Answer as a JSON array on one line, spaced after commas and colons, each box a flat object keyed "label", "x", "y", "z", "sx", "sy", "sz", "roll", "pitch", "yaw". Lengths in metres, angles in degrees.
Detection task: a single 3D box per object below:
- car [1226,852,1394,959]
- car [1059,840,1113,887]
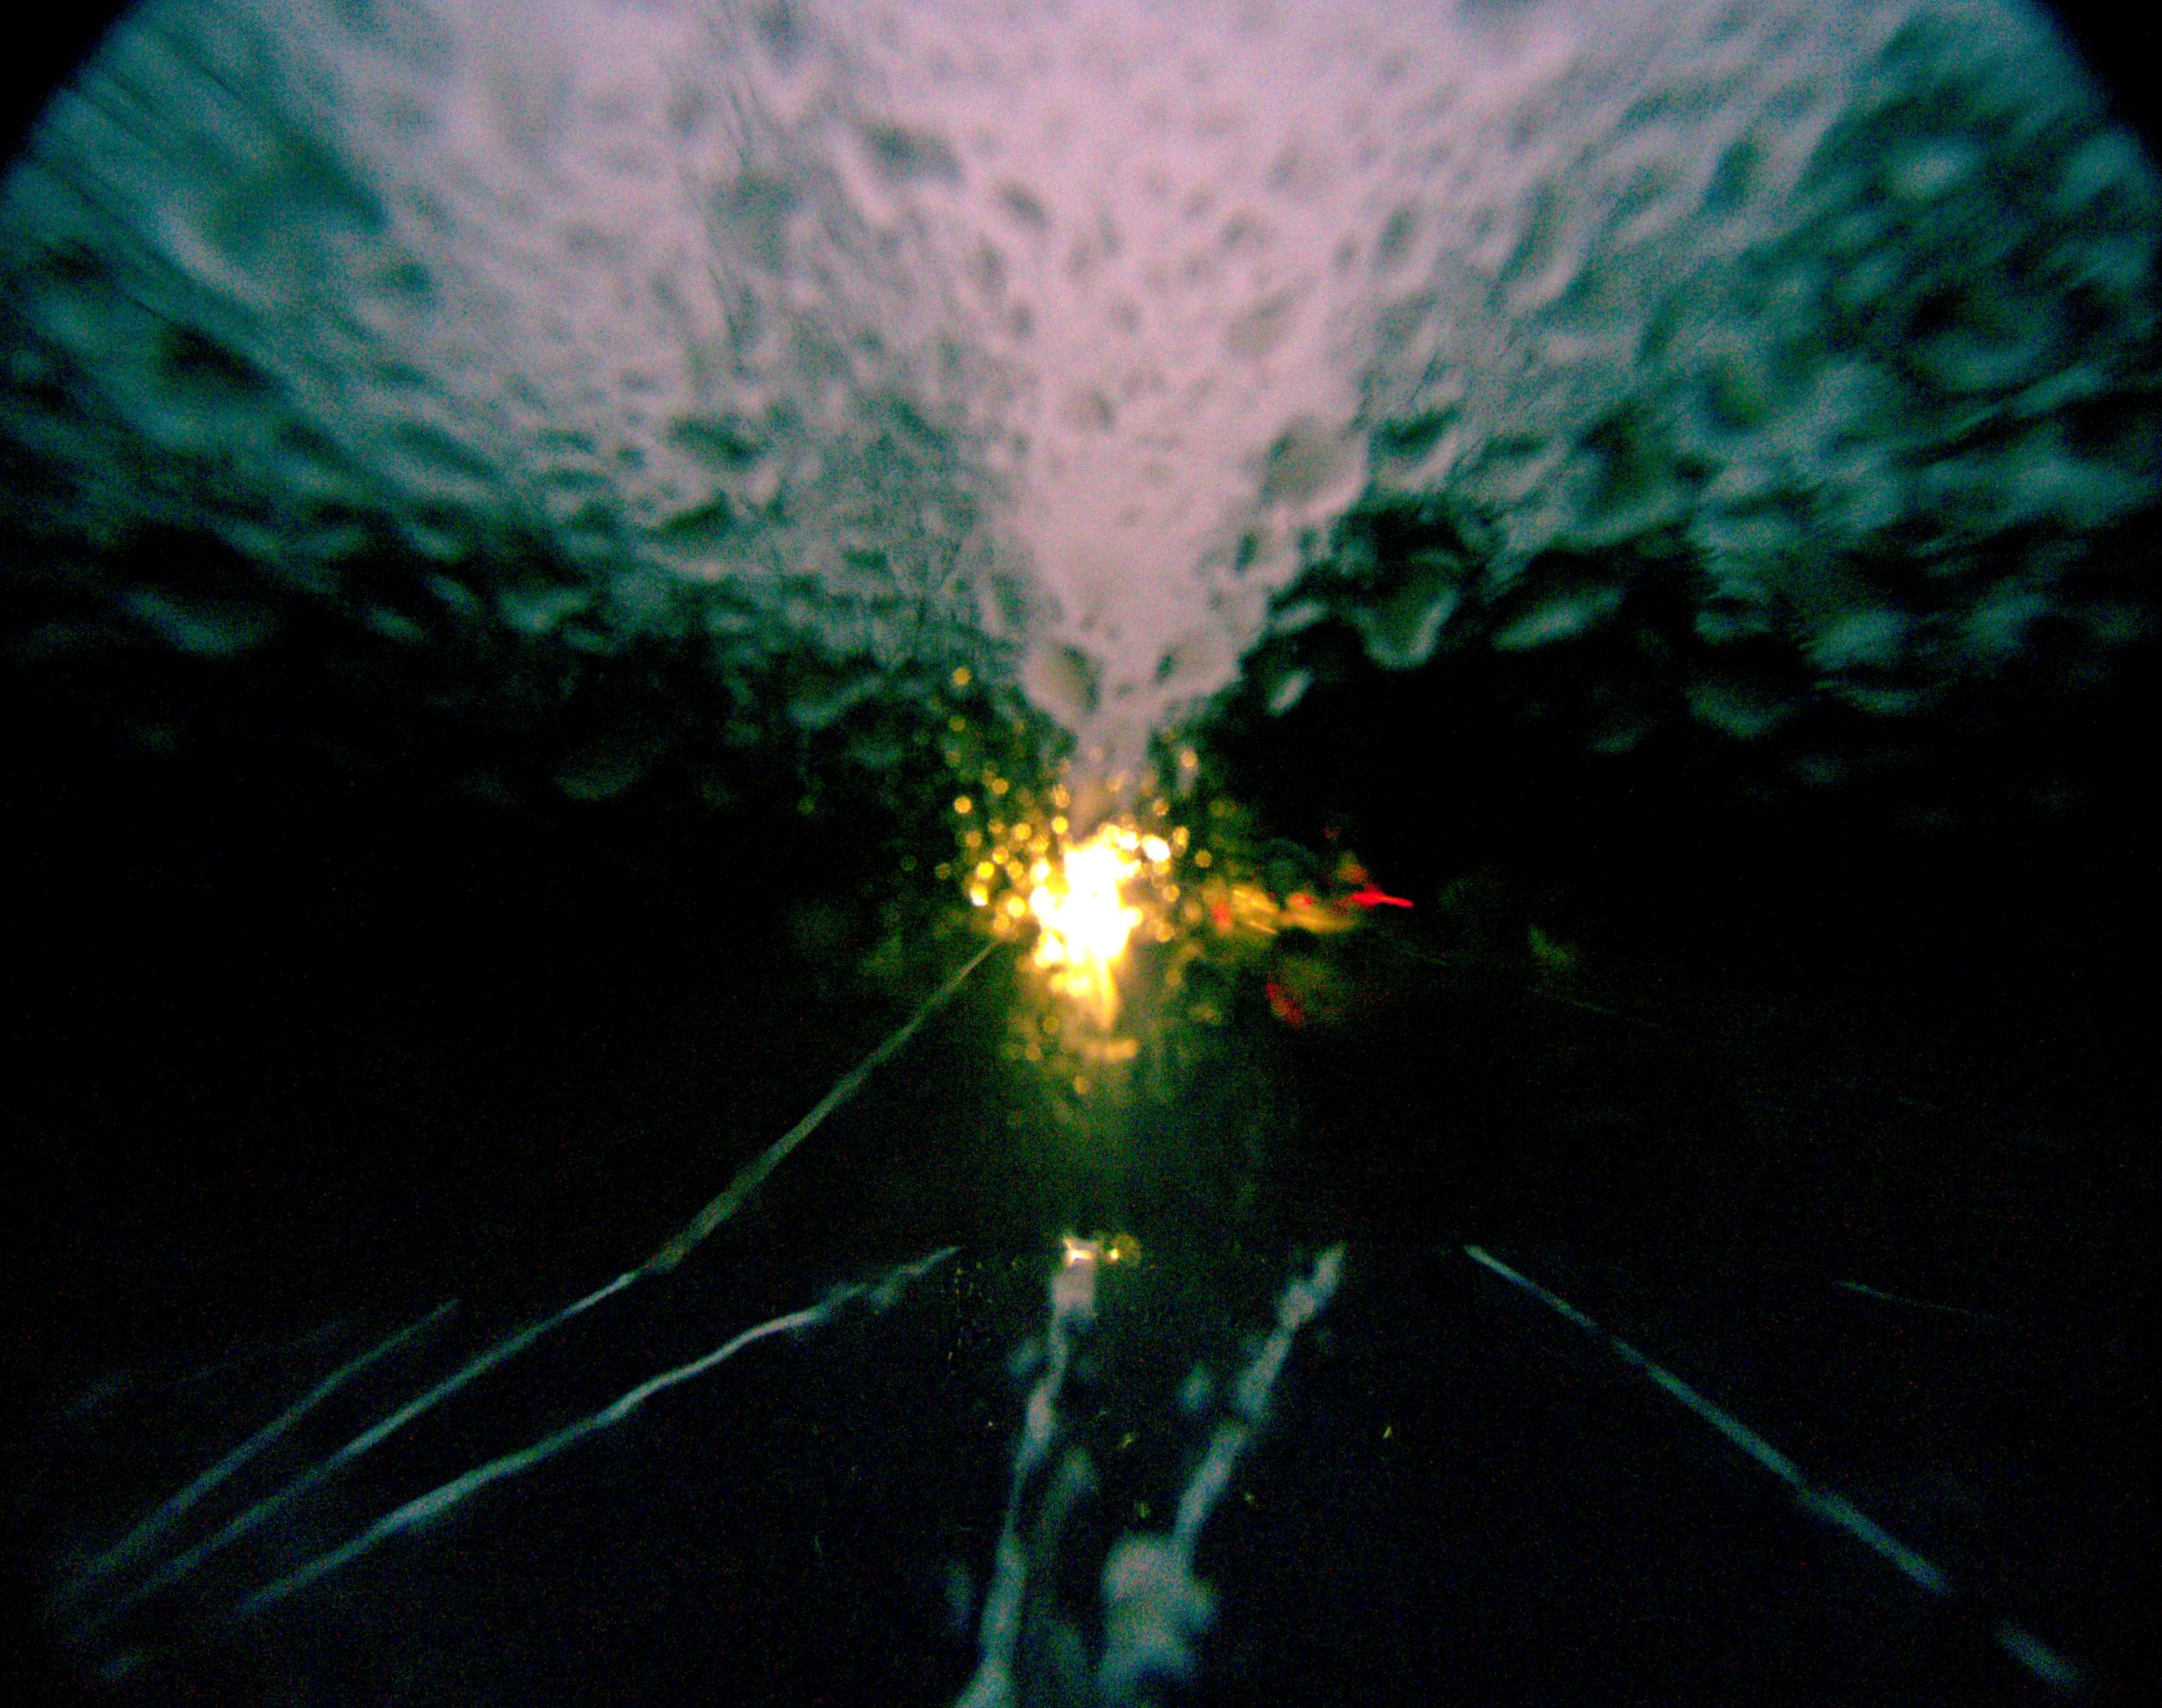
[{"label": "car", "x": 3.820, "y": 0.770, "z": 13.377, "sx": 1.804, "sy": 1.591, "sz": 3.862, "roll": 1, "pitch": 0, "yaw": 1}, {"label": "car", "x": 0.338, "y": 0.425, "z": 40.083, "sx": 2.542, "sy": 2.213, "sz": 6.169, "roll": -2, "pitch": 1, "yaw": 2}]
